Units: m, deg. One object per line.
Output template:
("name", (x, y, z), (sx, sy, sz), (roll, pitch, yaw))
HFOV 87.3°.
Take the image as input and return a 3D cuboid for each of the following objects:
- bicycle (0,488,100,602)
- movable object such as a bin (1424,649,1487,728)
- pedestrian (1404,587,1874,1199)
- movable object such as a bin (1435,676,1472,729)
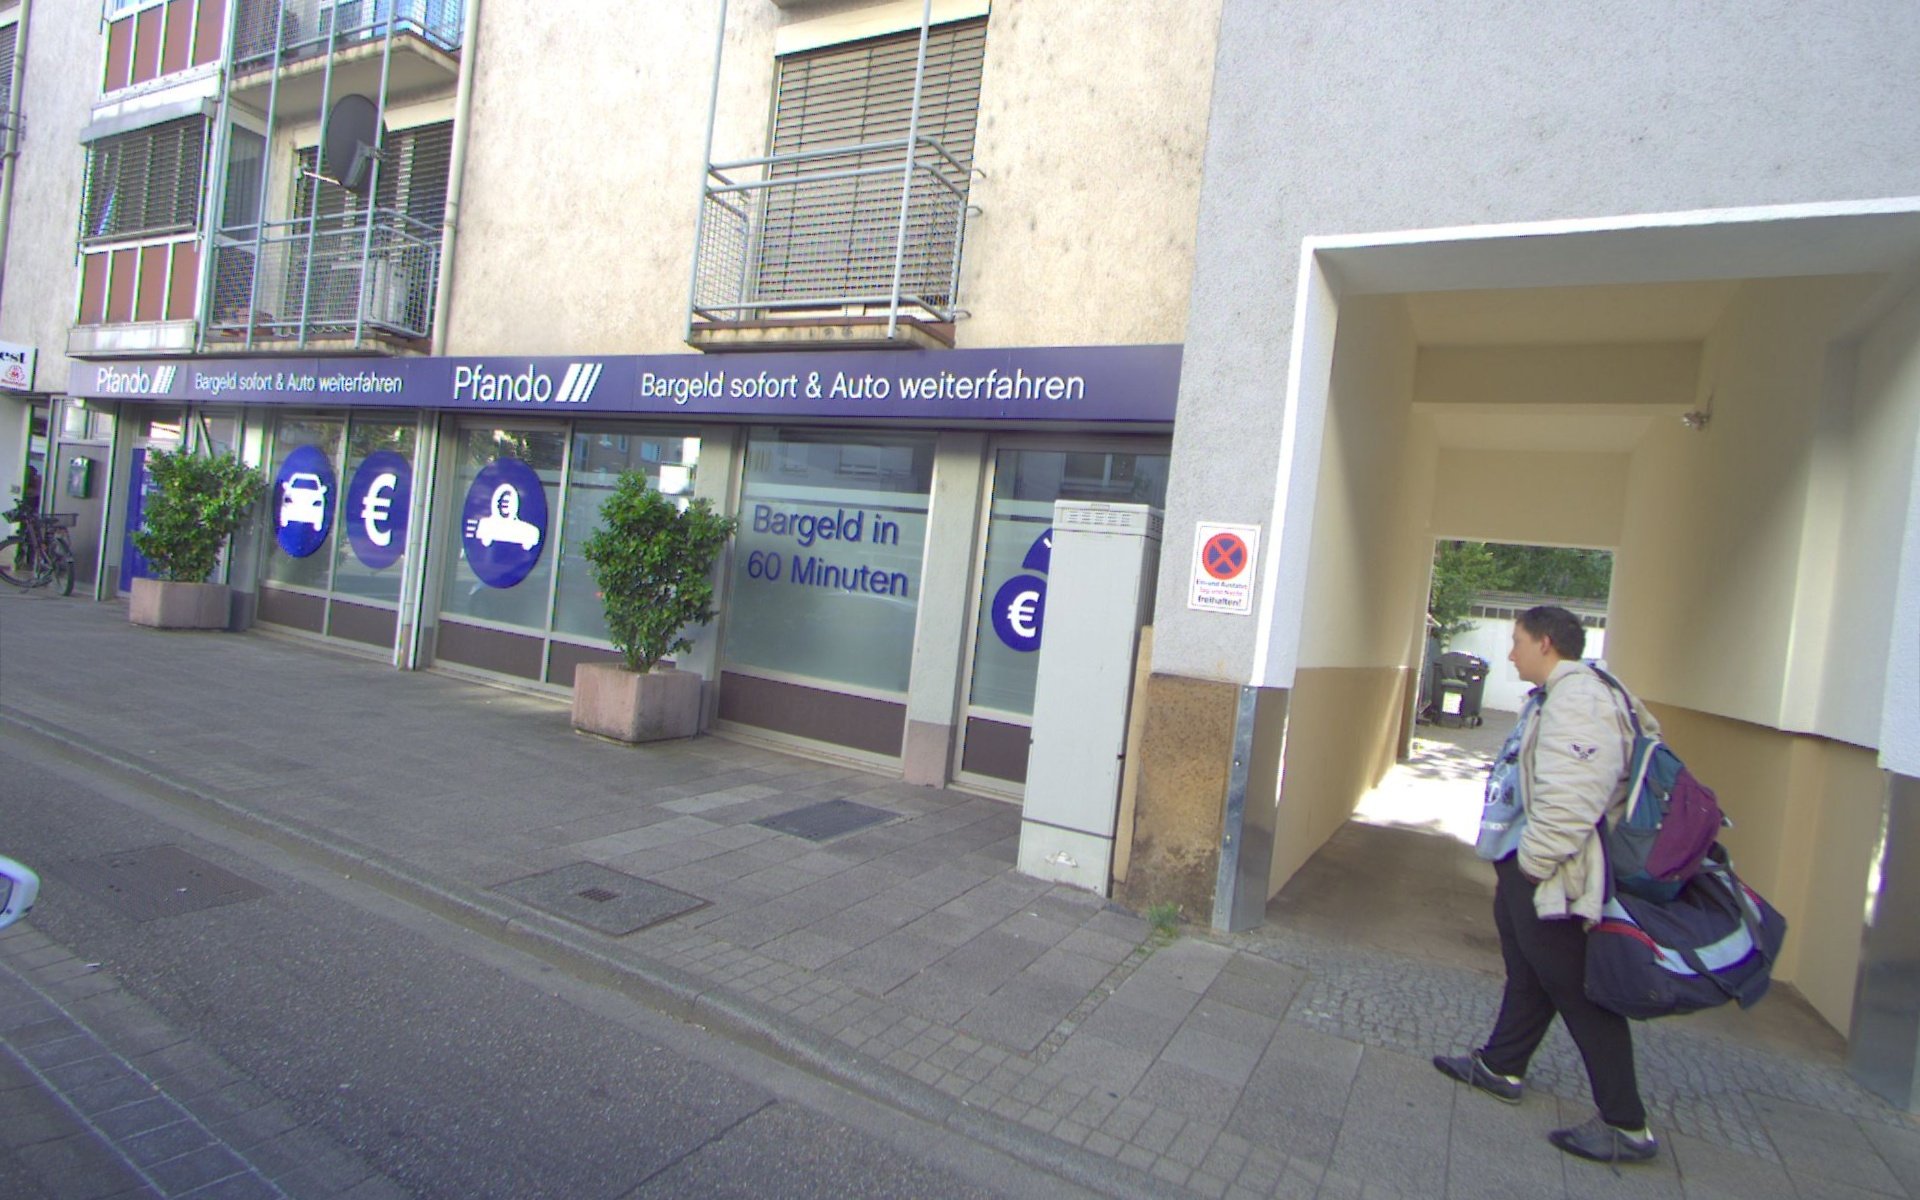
("bicycle", (-11.853, -0.733, 12.891), (1.879, 1.280, 0.640), (7, 1, 32))
("movable object such as a bin", (10.102, 1.779, 20.472), (0.945, 1.426, 1.598), (7, 1, 29))
("pedestrian", (1.952, 0.814, 3.055), (0.853, 1.593, 0.874), (8, 3, 29))
("movable object such as a bin", (9.551, 1.972, 19.469), (0.518, 0.922, 0.580), (7, 1, 29))
